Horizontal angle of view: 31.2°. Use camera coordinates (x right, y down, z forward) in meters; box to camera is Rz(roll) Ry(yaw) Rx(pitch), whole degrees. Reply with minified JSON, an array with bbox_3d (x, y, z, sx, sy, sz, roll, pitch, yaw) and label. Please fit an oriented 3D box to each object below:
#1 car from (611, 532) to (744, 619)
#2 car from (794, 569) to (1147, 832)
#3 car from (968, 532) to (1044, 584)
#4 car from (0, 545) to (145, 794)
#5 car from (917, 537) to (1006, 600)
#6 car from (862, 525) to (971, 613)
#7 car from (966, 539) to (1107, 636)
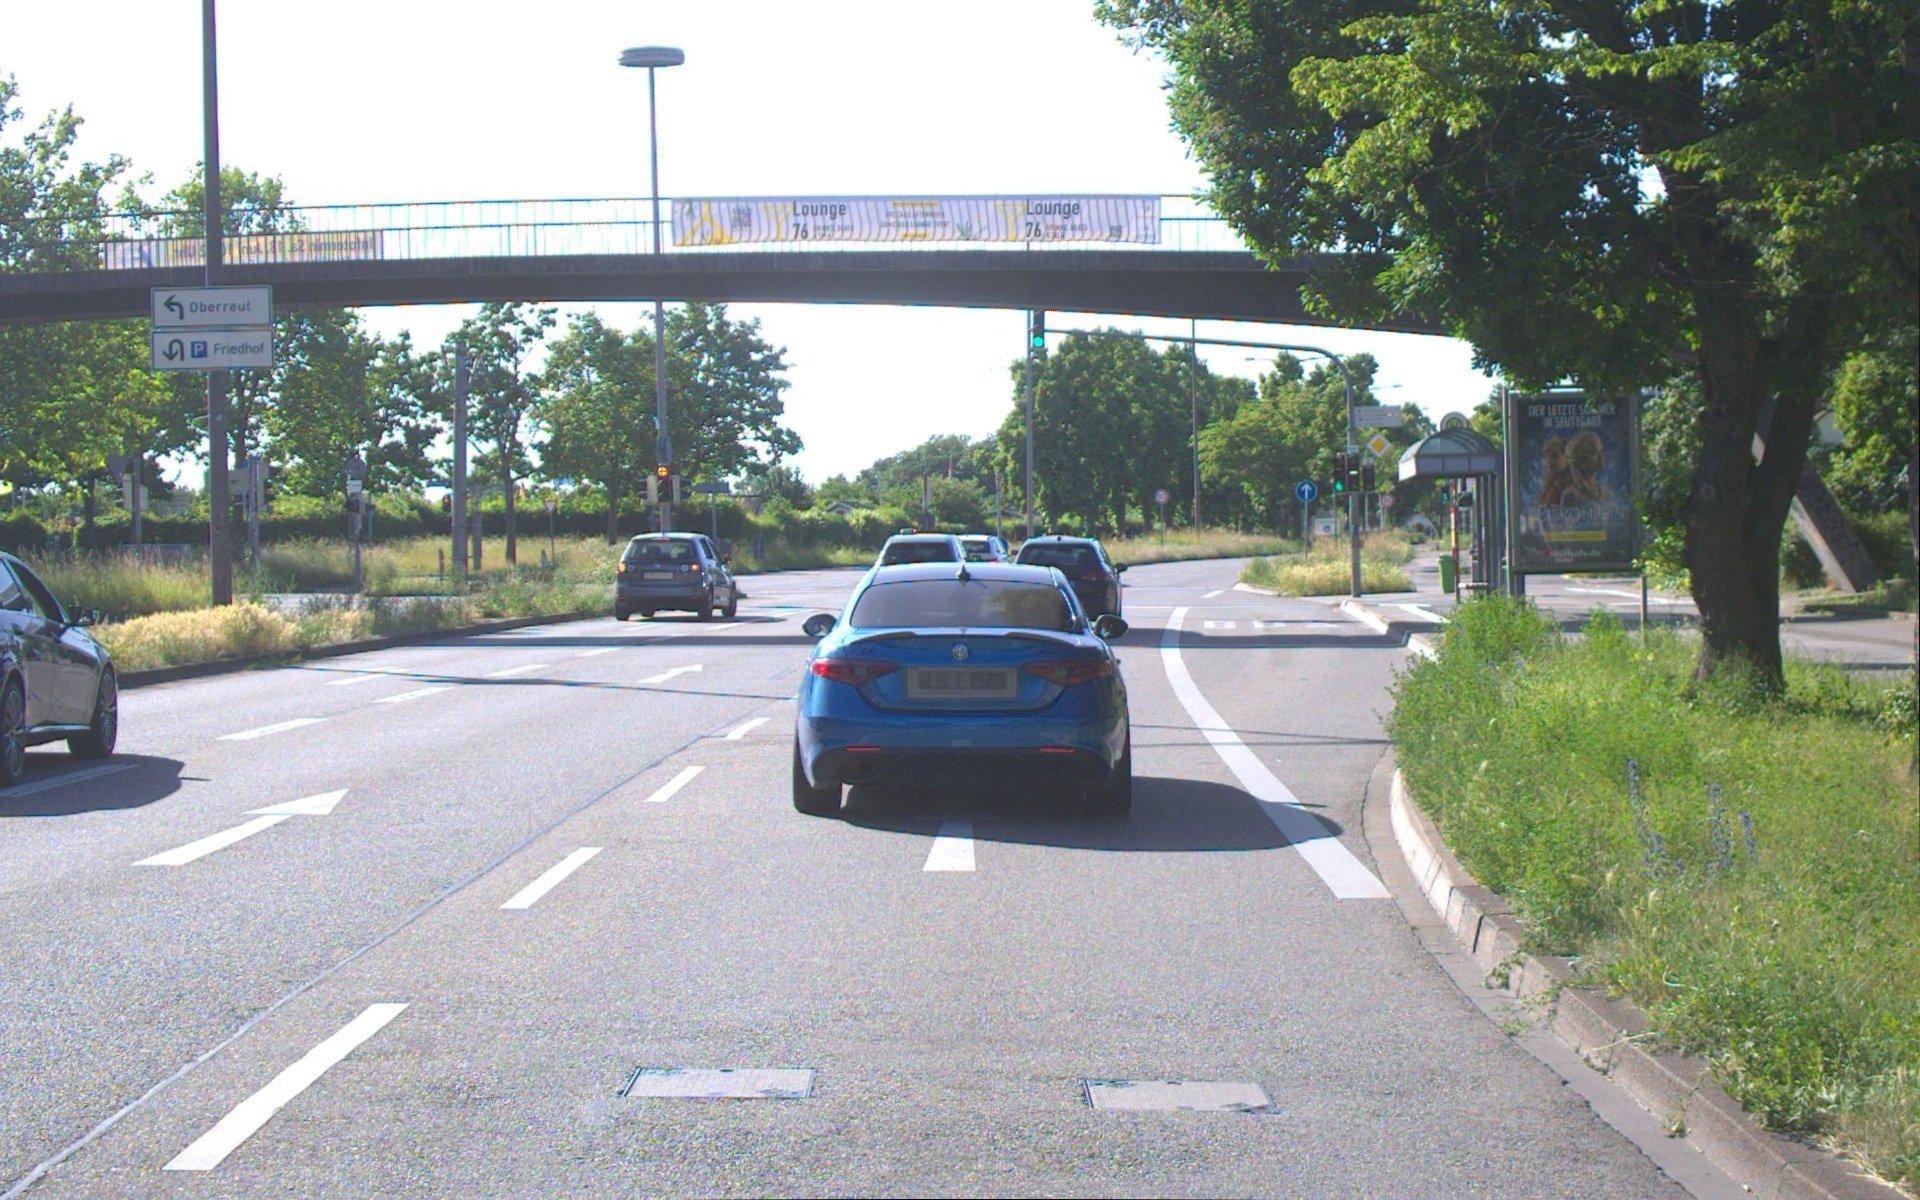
[{"bbox_3d":[-5.166,-0.452,63.211,1.797,1.550,3.729,0,0,6],"label":"car"},{"bbox_3d":[-0.042,0.519,20.467,1.883,1.401,4.224,0,0,-3],"label":"car"},{"bbox_3d":[1.282,-1.202,98.065,1.883,1.449,4.527,0,0,-3],"label":"car"},{"bbox_3d":[-6.772,0.401,22.296,1.959,1.478,4.919,-1,1,-2],"label":"car"},{"bbox_3d":[0.015,-0.751,81.682,1.883,1.449,4.527,0,0,-3],"label":"car"},{"bbox_3d":[-0.858,-0.582,64.743,1.707,1.592,4.225,0,0,-5],"label":"car"},{"bbox_3d":[1.159,-0.209,54.057,1.883,1.449,4.527,0,0,-3],"label":"car"}]
